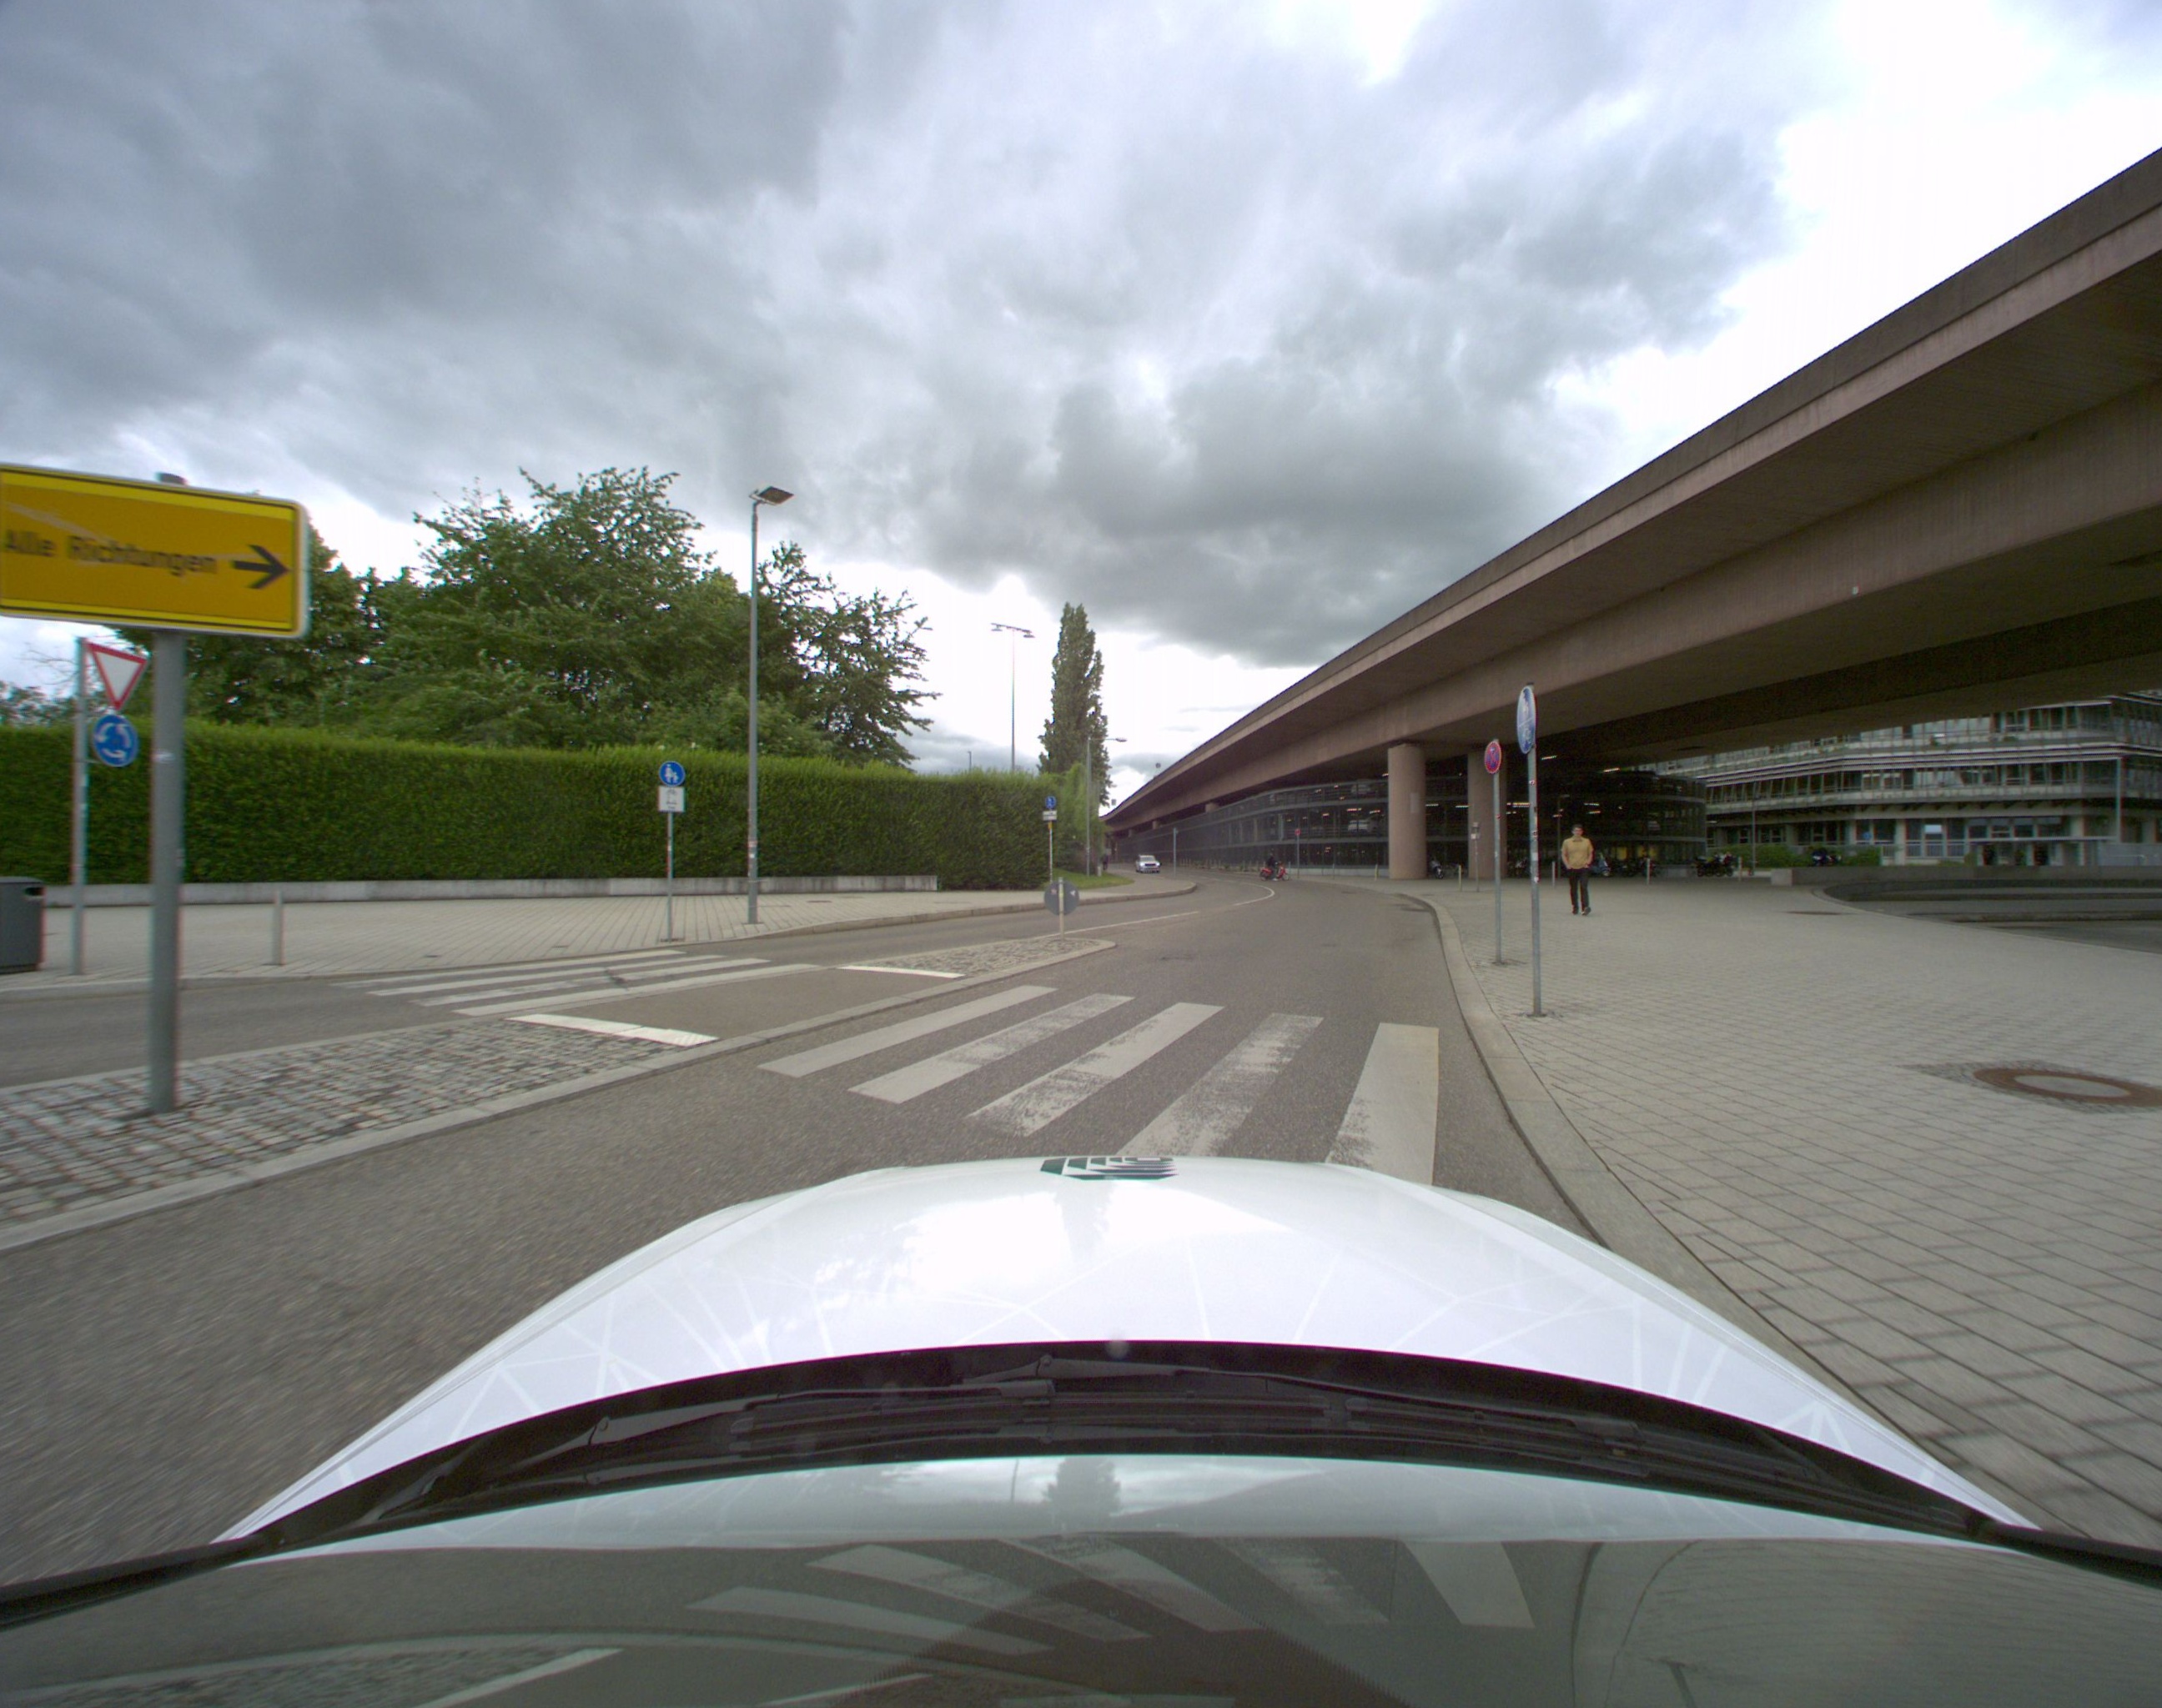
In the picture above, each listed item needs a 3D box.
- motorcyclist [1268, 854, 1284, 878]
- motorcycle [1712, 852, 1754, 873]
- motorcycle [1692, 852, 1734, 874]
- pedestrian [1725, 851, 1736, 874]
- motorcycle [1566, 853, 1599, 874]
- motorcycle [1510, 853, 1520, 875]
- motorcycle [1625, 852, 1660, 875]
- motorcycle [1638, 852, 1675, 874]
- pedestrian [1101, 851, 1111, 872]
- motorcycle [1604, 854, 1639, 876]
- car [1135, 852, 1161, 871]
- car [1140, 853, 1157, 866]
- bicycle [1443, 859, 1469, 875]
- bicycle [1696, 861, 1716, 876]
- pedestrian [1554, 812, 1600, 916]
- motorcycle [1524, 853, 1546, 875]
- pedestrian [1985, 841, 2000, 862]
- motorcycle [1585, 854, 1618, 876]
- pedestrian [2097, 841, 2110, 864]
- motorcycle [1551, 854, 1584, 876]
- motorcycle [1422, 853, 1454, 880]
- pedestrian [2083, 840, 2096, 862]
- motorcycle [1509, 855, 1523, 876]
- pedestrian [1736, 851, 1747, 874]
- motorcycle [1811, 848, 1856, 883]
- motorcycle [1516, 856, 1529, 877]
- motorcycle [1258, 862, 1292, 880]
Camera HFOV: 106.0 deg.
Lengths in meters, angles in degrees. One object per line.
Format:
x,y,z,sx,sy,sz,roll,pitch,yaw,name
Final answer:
11.484,0.703,47.976,0.860,1.419,0.767,0,1,15,motorcyclist
40.159,0.502,50.215,0.670,1.220,2.363,-1,1,-1,motorcycle
38.566,0.516,49.736,0.670,1.275,2.363,-1,1,-1,motorcycle
57.087,0.752,71.561,0.524,2.014,0.575,0,-1,6,pedestrian
29.791,0.552,48.454,0.670,1.220,2.078,-1,1,-1,motorcycle
25.184,0.592,47.263,0.515,1.220,1.157,0,1,28,motorcycle
33.320,0.567,48.349,0.670,1.286,2.078,-1,1,-1,motorcycle
34.246,0.532,48.481,0.670,1.220,2.078,-1,1,-1,motorcycle
2.159,0.657,71.220,0.801,1.780,0.920,-1,1,0,pedestrian
32.001,0.645,48.212,0.670,1.220,2.078,-1,1,-1,motorcycle
6.319,0.711,77.135,1.860,1.683,4.400,-1,1,-4,car
9.112,0.709,110.080,1.834,1.711,3.703,-1,1,-2,car
23.476,0.836,51.012,1.459,0.976,0.454,0,1,24,bicycle
40.002,0.919,52.121,1.509,0.895,0.471,-1,1,-28,bicycle
10.030,0.180,16.488,0.774,2.013,1.046,0,1,31,pedestrian
26.630,0.598,47.772,0.823,1.220,2.089,0,1,20,motorcycle
66.308,-0.204,59.234,0.540,1.481,0.497,-1,1,6,pedestrian
30.995,0.655,48.530,0.670,1.220,2.078,-1,1,-1,motorcycle
67.285,-0.091,53.581,0.547,1.481,0.491,-1,1,-34,pedestrian
28.872,0.622,48.337,0.670,1.220,2.078,-1,1,-1,motorcycle
20.009,0.695,45.701,0.643,1.455,1.752,-1,1,-18,motorcycle
67.069,-0.200,54.164,0.547,1.481,0.491,-1,1,-34,pedestrian
26.067,0.686,48.792,0.516,1.220,1.155,0,1,16,motorcycle
57.851,0.750,71.318,0.524,2.014,0.575,0,-1,7,pedestrian
28.443,0.422,30.783,1.943,1.264,0.544,-1,1,-24,motorcycle
24.399,0.699,44.970,0.515,1.171,1.157,0,-2,34,motorcycle
11.446,1.002,47.982,1.936,1.022,0.752,0,1,15,motorcycle
